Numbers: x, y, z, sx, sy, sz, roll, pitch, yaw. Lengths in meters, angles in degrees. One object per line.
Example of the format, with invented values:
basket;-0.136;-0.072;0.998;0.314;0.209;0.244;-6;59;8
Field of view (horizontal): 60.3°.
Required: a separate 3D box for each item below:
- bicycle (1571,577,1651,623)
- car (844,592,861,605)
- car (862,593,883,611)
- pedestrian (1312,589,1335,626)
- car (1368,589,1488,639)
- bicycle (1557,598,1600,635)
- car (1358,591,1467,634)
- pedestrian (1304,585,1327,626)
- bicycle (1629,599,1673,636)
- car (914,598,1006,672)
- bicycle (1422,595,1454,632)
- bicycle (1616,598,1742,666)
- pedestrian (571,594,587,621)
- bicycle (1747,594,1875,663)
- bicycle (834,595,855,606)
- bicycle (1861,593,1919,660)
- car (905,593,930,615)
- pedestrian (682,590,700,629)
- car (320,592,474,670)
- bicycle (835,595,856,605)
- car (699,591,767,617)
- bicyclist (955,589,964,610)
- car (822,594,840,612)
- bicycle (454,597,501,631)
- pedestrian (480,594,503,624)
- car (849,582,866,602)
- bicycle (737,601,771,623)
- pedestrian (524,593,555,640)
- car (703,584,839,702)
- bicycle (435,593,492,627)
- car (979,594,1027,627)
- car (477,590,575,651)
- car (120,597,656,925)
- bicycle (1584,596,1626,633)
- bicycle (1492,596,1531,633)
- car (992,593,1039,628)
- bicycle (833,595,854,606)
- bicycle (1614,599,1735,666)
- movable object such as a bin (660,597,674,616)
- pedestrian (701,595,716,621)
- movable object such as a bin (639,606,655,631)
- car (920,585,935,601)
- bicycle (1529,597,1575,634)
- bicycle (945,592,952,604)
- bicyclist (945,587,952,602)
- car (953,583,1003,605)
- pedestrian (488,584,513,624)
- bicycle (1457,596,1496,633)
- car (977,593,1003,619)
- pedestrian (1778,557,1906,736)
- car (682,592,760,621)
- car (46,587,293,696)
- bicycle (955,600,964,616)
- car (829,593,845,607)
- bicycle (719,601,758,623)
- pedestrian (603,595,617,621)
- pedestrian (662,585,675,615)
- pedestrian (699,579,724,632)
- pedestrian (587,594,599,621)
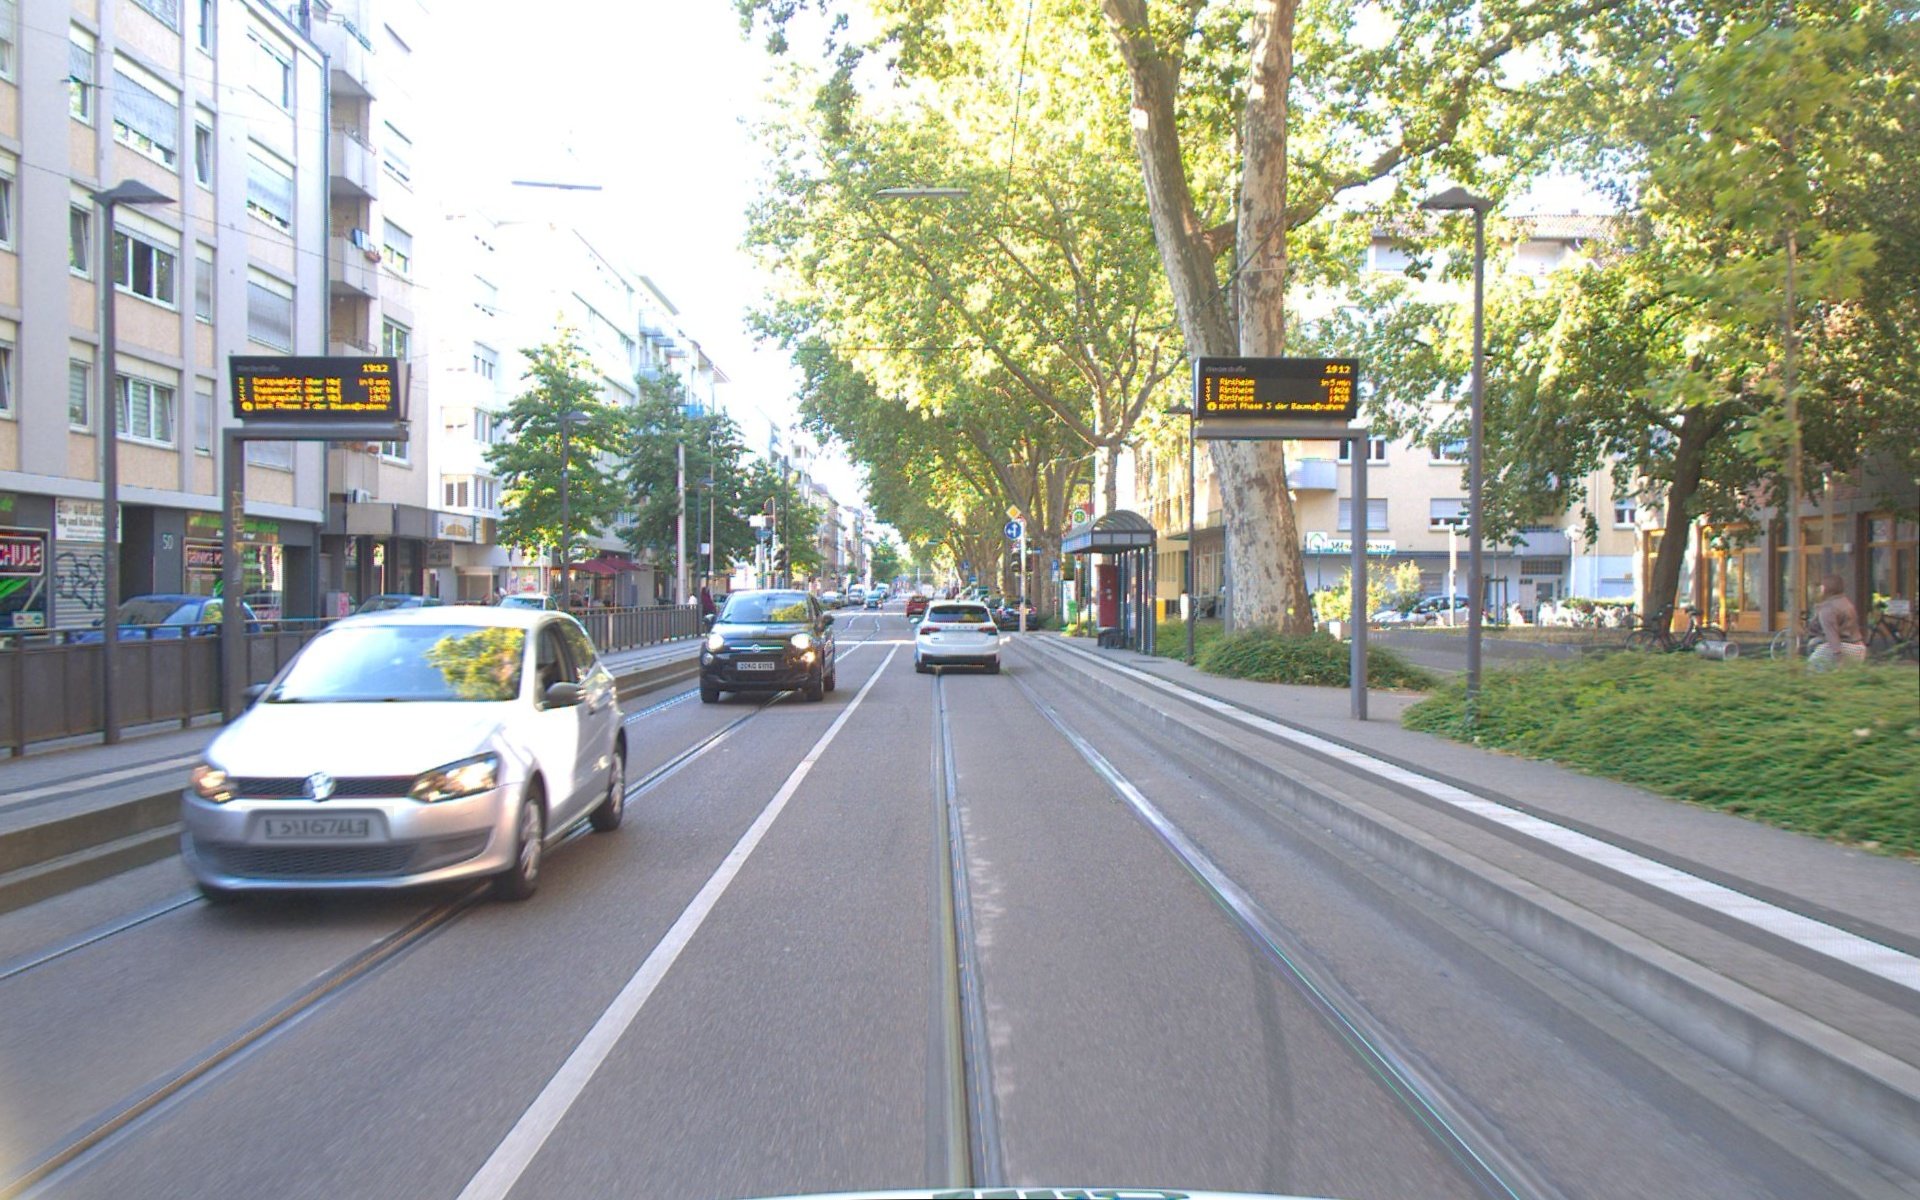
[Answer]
bicycle;17.269;0.002;43.909;1.887;1.177;0.572;-2;0;15
car;-13.793;-0.201;211.588;1.953;1.557;3.999;0;0;-1
car;-8.248;0.155;156.207;1.834;1.617;4.144;2;0;-3
pedestrian;15.269;0.309;69.479;0.690;1.566;0.687;0;0;40
car;16.823;0.494;59.605;3.783;1.722;1.865;0;0;-2
bicycle;20.323;0.517;54.371;0.647;1.177;1.850;-2;0;-2
car;17.904;0.481;65.551;3.783;1.579;1.866;0;3;-2
pedestrian;15.161;0.224;70.582;0.693;1.712;0.655;0;0;-28
bicycle;22.542;0.551;53.979;0.552;1.177;1.696;-2;0;-6
car;-0.054;0.677;33.964;1.726;1.408;3.998;0;0;-2
bicycle;15.822;0.443;54.758;0.587;1.177;1.698;-2;0;2
bicycle;13.082;0.583;30.124;1.987;1.177;0.572;-2;0;9
pedestrian;-17.270;0.325;75.031;0.557;1.219;0.506;0;0;-36
bicycle;15.552;0.519;30.252;1.988;1.177;0.572;-2;0;4
bicycle;-14.040;0.024;200.432;2.477;1.193;0.718;2;-2;-8
bicycle;17.475;0.471;30.252;1.642;1.177;0.572;-2;0;4
car;-2.937;0.274;114.930;1.726;1.501;3.999;0;0;-1
pedestrian;-11.245;0.394;69.128;0.711;1.583;0.768;0;0;-7
car;-12.330;0.634;36.521;1.916;1.571;4.388;-1;0;-1
bicycle;-14.147;0.013;204.208;2.477;1.193;0.718;2;-2;-7
car;-13.834;0.261;100.960;3.933;1.501;1.850;1;0;-4
bicyclist;-0.049;-0.027;117.406;0.664;1.468;1.047;0;0;0
car;-13.006;0.300;166.798;1.668;1.679;4.239;2;0;-3
bicycle;-17.072;0.481;58.500;1.750;1.177;0.571;0;0;30
pedestrian;-19.585;0.370;69.121;0.741;1.263;0.759;0;0;-35
car;-14.933;-1.147;241.958;2.295;2.911;3.999;0;0;-1
bicycle;-10.224;0.590;82.074;1.658;1.025;0.657;1;0;-6
pedestrian;-14.303;0.567;56.263;0.714;1.583;0.721;0;0;42
car;-2.767;0.588;24.941;1.726;1.616;3.998;0;0;-2
bicycle;-17.306;0.352;57.688;1.819;1.177;0.572;0;0;3
car;1.996;0.478;78.553;1.828;1.462;4.222;-1;0;-4
car;-12.728;0.562;48.746;1.840;1.680;4.356;-1;0;-2
car;-2.959;0.725;9.500;1.726;1.451;3.999;0;0;-1
bicycle;21.159;0.463;54.311;0.647;1.177;1.697;-2;0;-2
bicycle;18.127;0.477;54.421;0.623;1.177;1.982;-2;0;1
car;2.435;0.445;73.582;1.729;1.488;5.009;0;0;-3
bicycle;-14.085;0.024;199.573;2.510;1.193;0.870;3;-2;-41
bicycle;13.389;0.608;31.010;1.990;1.177;0.572;-2;0;-1
movable object such as a bin;-16.598;0.387;93.714;0.664;1.074;0.622;0;0;0
pedestrian;-13.282;0.425;87.263;0.700;1.320;0.908;0;0;-15
movable object such as a bin;-12.493;0.738;66.051;0.530;0.948;0.647;0;0;-18
car;-4.838;-1.047;246.985;2.157;2.429;3.999;0;0;-1
bicycle;19.396;0.503;54.218;0.715;1.177;2.050;-2;0;-1
bicycle;-1.073;-0.210;154.006;0.636;1.089;1.582;0;0;-3
bicyclist;-1.081;-0.527;154.018;0.636;1.367;0.934;0;0;-3
car;2.192;-0.705;202.079;6.008;2.681;2.528;0;0;-3
pedestrian;-19.386;0.162;69.846;0.731;1.688;0.769;0;0;14
bicycle;16.911;0.457;54.157;0.588;1.177;1.696;-2;0;-5
car;1.815;0.380;100.485;1.531;1.545;2.910;-1;-1;1
pedestrian;8.575;0.439;16.113;0.751;1.688;0.917;0;0;-1
car;-12.875;0.368;89.358;3.931;1.501;1.851;1;0;-1
car;-11.960;0.573;25.348;1.758;1.489;4.281;-1;0;-1
bicycle;-0.044;0.549;117.466;0.667;1.089;1.780;0;0;-1
car;-13.527;0.000;182.532;1.620;1.462;3.835;0;0;-3
bicycle;-10.489;0.570;78.495;1.794;1.025;0.657;1;0;-6
pedestrian;-16.629;0.388;78.632;0.506;1.219;0.558;0;0;-30
pedestrian;-16.498;0.008;93.600;0.650;1.720;0.748;0;0;-3
pedestrian;-7.575;0.169;50.378;0.640;1.613;0.772;0;0;-1
pedestrian;-16.572;0.325;74.698;0.503;1.219;0.561;0;0;-17
